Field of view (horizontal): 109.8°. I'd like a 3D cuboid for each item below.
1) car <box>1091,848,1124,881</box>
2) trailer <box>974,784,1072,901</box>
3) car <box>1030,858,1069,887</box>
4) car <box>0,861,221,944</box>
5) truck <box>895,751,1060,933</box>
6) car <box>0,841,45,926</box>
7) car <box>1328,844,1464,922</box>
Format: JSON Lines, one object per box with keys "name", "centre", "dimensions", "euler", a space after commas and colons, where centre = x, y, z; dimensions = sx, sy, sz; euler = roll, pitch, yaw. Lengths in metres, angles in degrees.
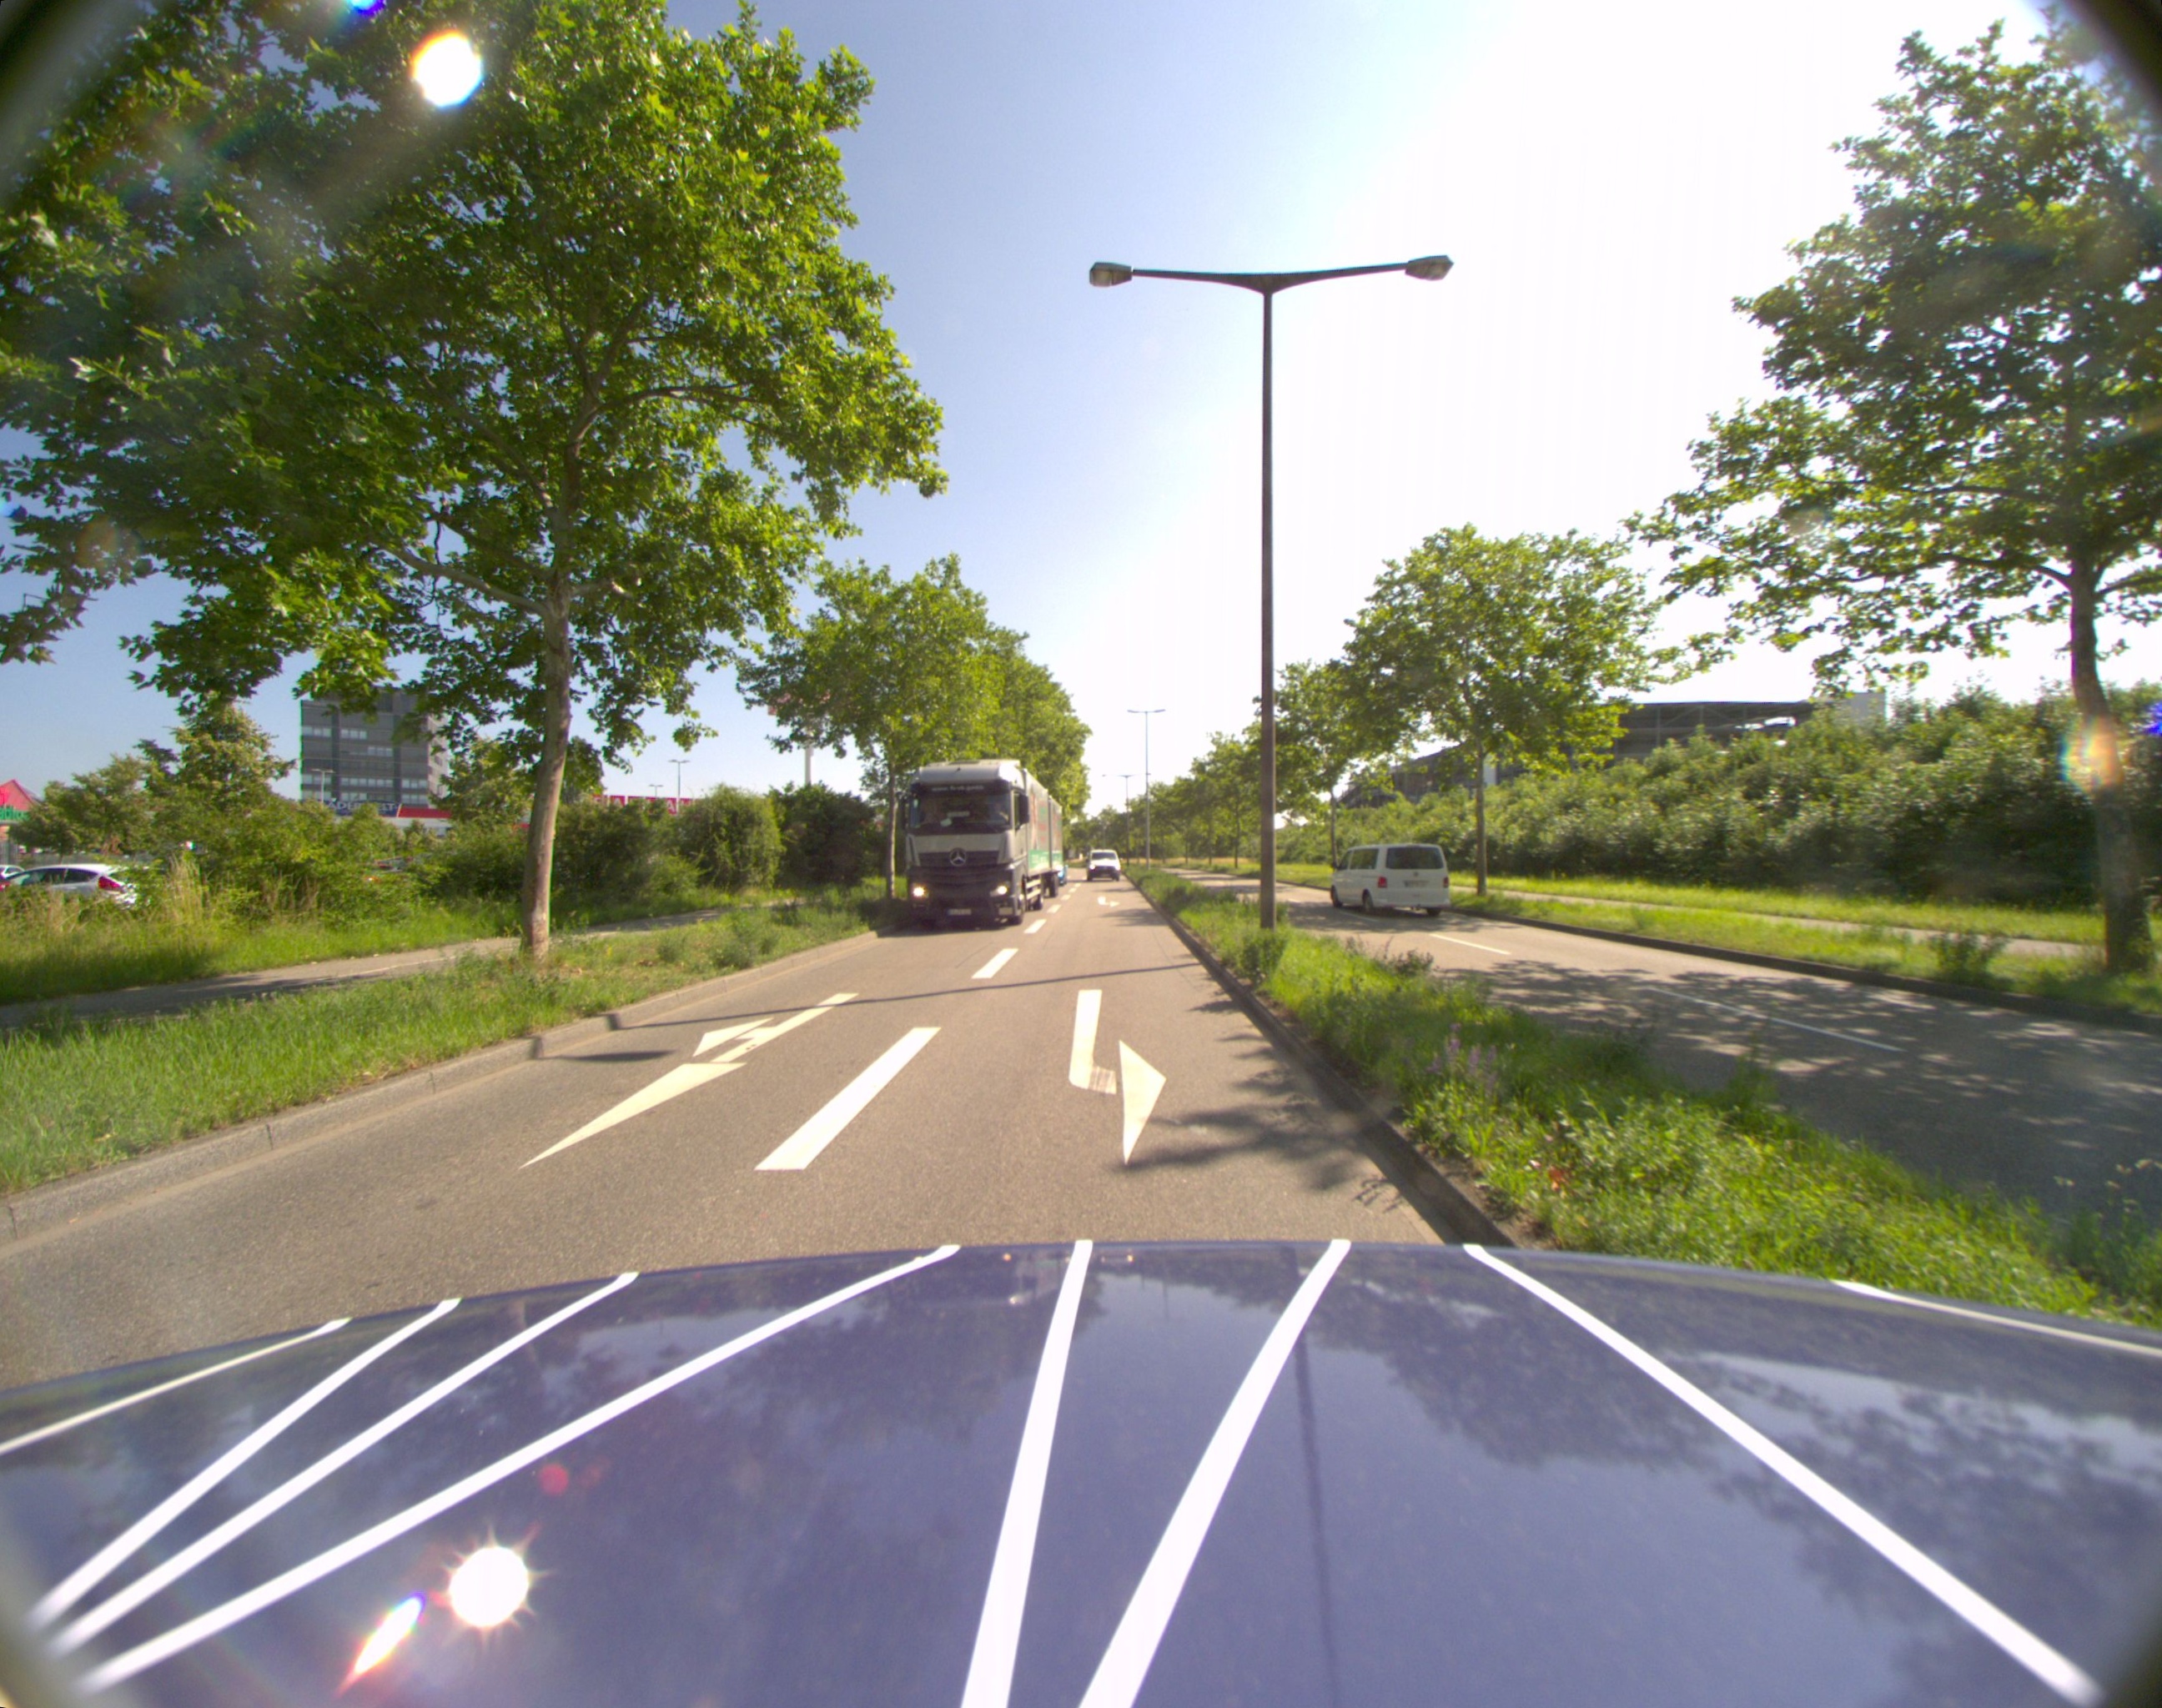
{"name": "car", "centre": [1.582, 0.591, 47.058], "dimensions": [1.872, 1.889, 4.881], "euler": [0, 0, 1]}
{"name": "trailer", "centre": [-1.970, -0.424, 28.932], "dimensions": [2.743, 3.854, 7.736], "euler": [-1, 1, 3]}
{"name": "car", "centre": [-1.633, 0.974, 40.971], "dimensions": [1.872, 1.412, 4.130], "euler": [0, 0, 1]}
{"name": "car", "centre": [-22.146, 1.051, 16.720], "dimensions": [4.083, 1.582, 1.880], "euler": [-2, 1, -2]}
{"name": "truck", "centre": [-2.354, -0.297, 20.689], "dimensions": [2.735, 3.867, 8.723], "euler": [-1, 1, 3]}
{"name": "car", "centre": [-22.168, 0.630, 13.727], "dimensions": [4.083, 1.582, 1.880], "euler": [-2, 1, -2]}
{"name": "car", "centre": [8.539, 0.695, 21.098], "dimensions": [1.998, 1.887, 4.575], "euler": [1, 0, 3]}
